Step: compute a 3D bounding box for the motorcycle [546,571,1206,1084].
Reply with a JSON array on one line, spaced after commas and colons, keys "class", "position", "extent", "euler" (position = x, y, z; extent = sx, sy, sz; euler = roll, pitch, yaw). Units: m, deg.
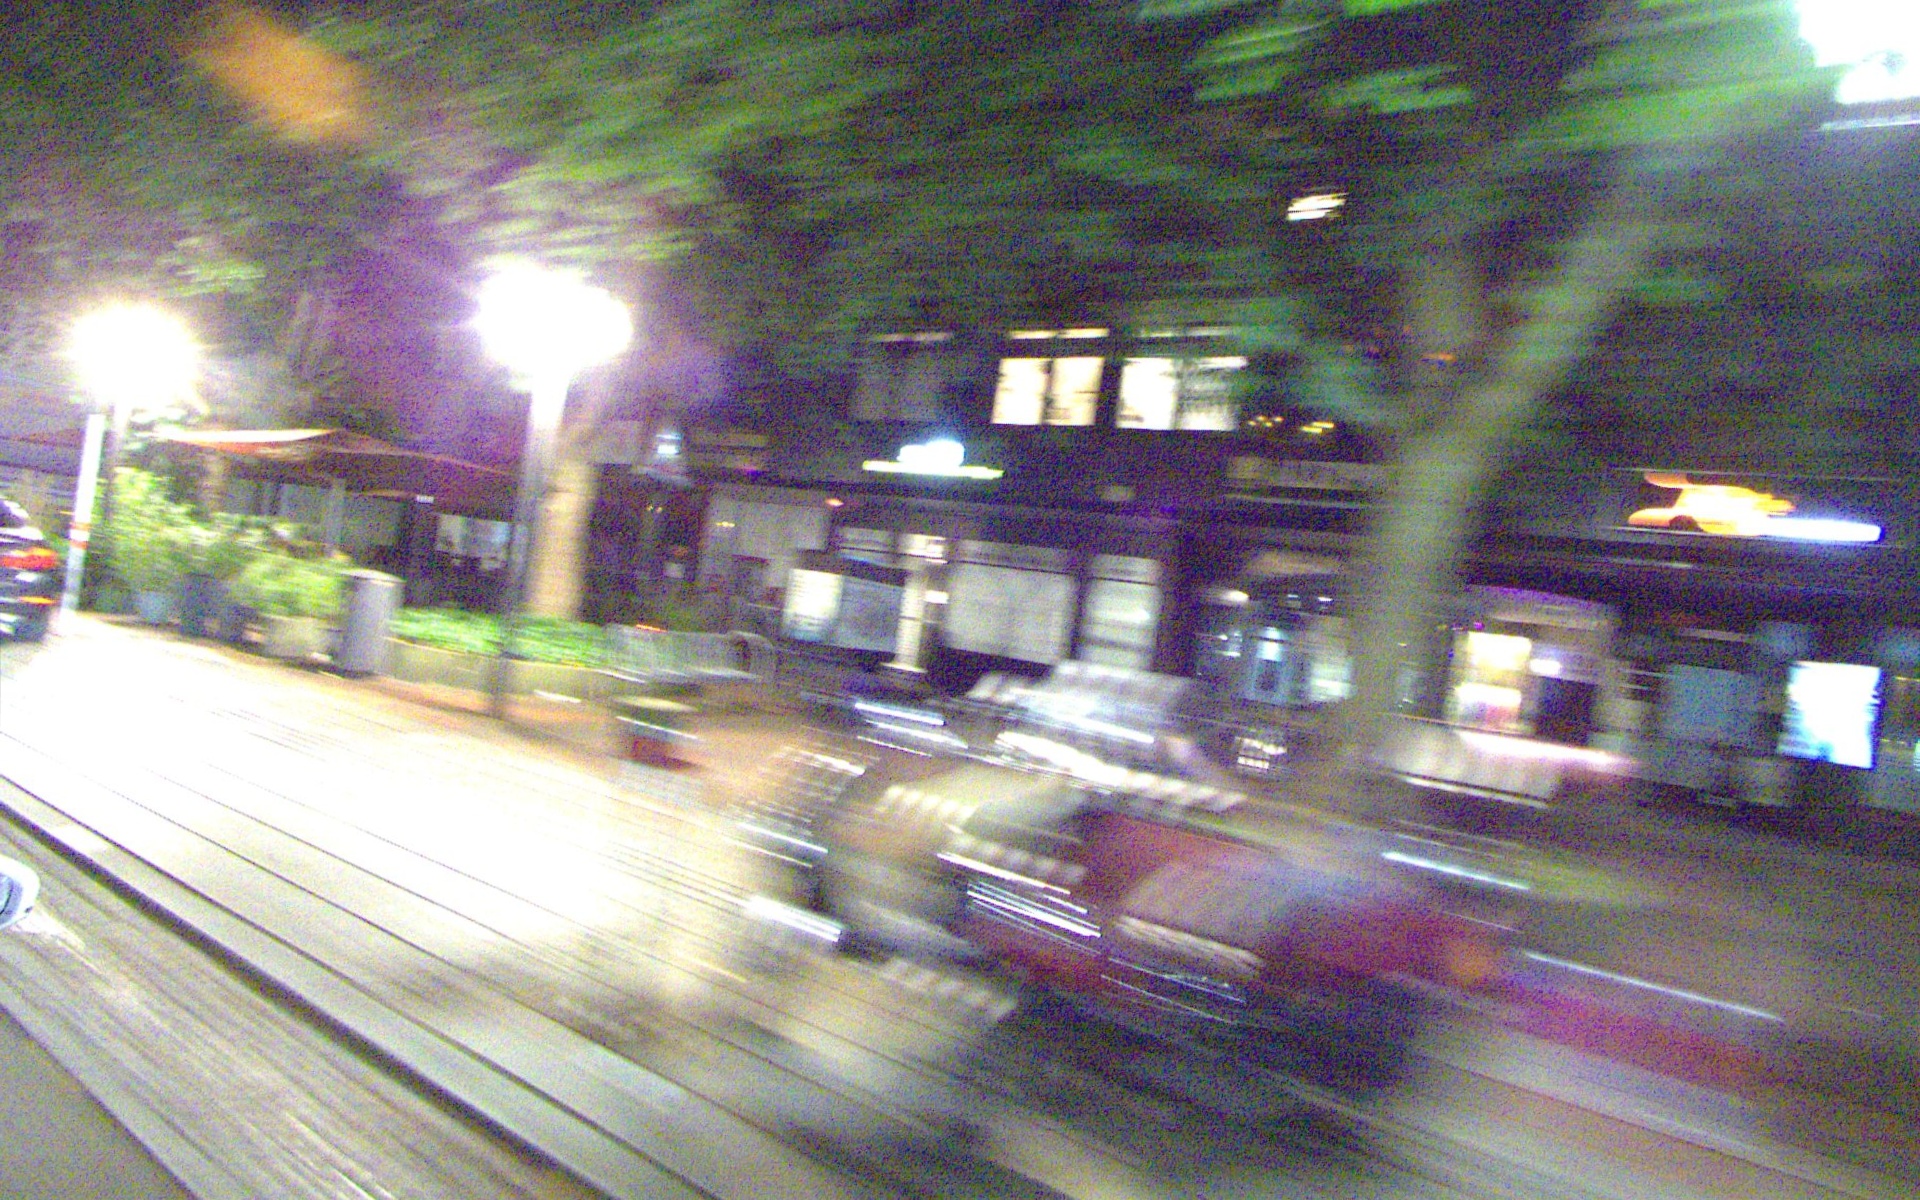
[{"class": "motorcycle", "position": [-0.191, 0.756, 3.694], "extent": [2.250, 1.408, 0.655], "euler": [8, 0, -34]}]

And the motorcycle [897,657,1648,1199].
[{"class": "motorcycle", "position": [0.980, 0.957, 2.976], "extent": [2.141, 1.313, 0.513], "euler": [8, 0, -21]}]

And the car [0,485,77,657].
[{"class": "car", "position": [-10.386, -0.497, 9.690], "extent": [4.395, 1.482, 1.754], "euler": [7, 1, 35]}]
